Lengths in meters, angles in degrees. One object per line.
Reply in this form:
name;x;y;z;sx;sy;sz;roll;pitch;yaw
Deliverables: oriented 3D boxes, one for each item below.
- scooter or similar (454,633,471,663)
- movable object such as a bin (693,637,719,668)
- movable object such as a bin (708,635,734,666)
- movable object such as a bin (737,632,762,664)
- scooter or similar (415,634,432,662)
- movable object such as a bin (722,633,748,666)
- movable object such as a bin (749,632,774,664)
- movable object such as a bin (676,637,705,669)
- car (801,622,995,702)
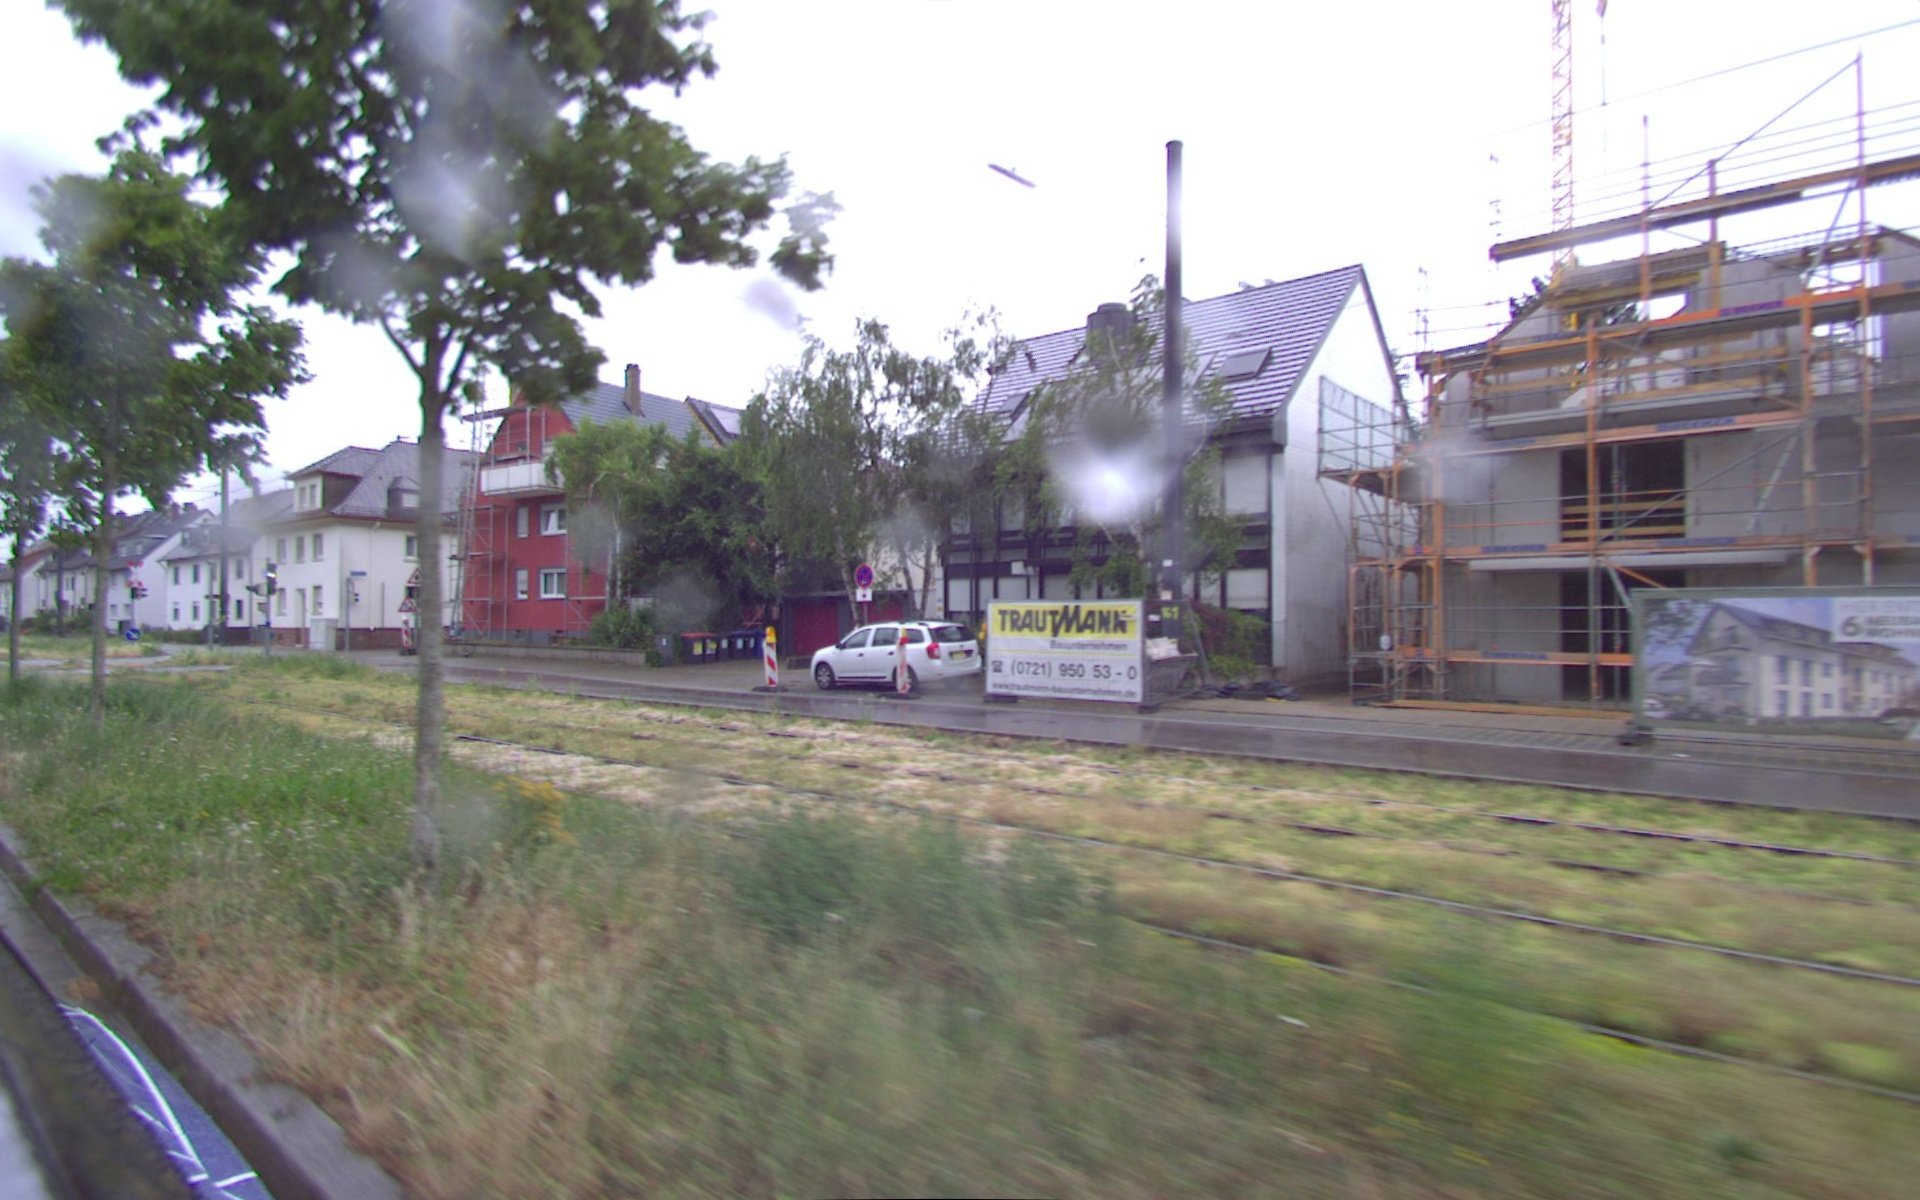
scooter or similar;-20.283;1.943;41.254;0.388;1.189;1.286;1;-2;-35
movable object such as a bin;-8.922;1.834;35.512;0.757;1.090;0.554;-2;-3;41
movable object such as a bin;-8.509;1.793;36.000;0.757;1.090;0.554;-2;-3;41
movable object such as a bin;-7.712;1.761;37.030;0.757;1.147;0.554;-2;-3;41
scooter or similar;-22.691;2.029;42.813;0.434;1.138;1.287;1;-2;-20
movable object such as a bin;-8.114;1.778;36.525;0.757;1.147;0.554;-2;-3;41
movable object such as a bin;-7.345;1.771;37.476;0.757;1.147;0.554;-2;-3;41
movable object such as a bin;-9.318;1.835;35.028;0.757;1.099;0.637;-2;-2;40
car;-1.467;1.313;22.662;4.421;1.554;1.692;-2;0;42
